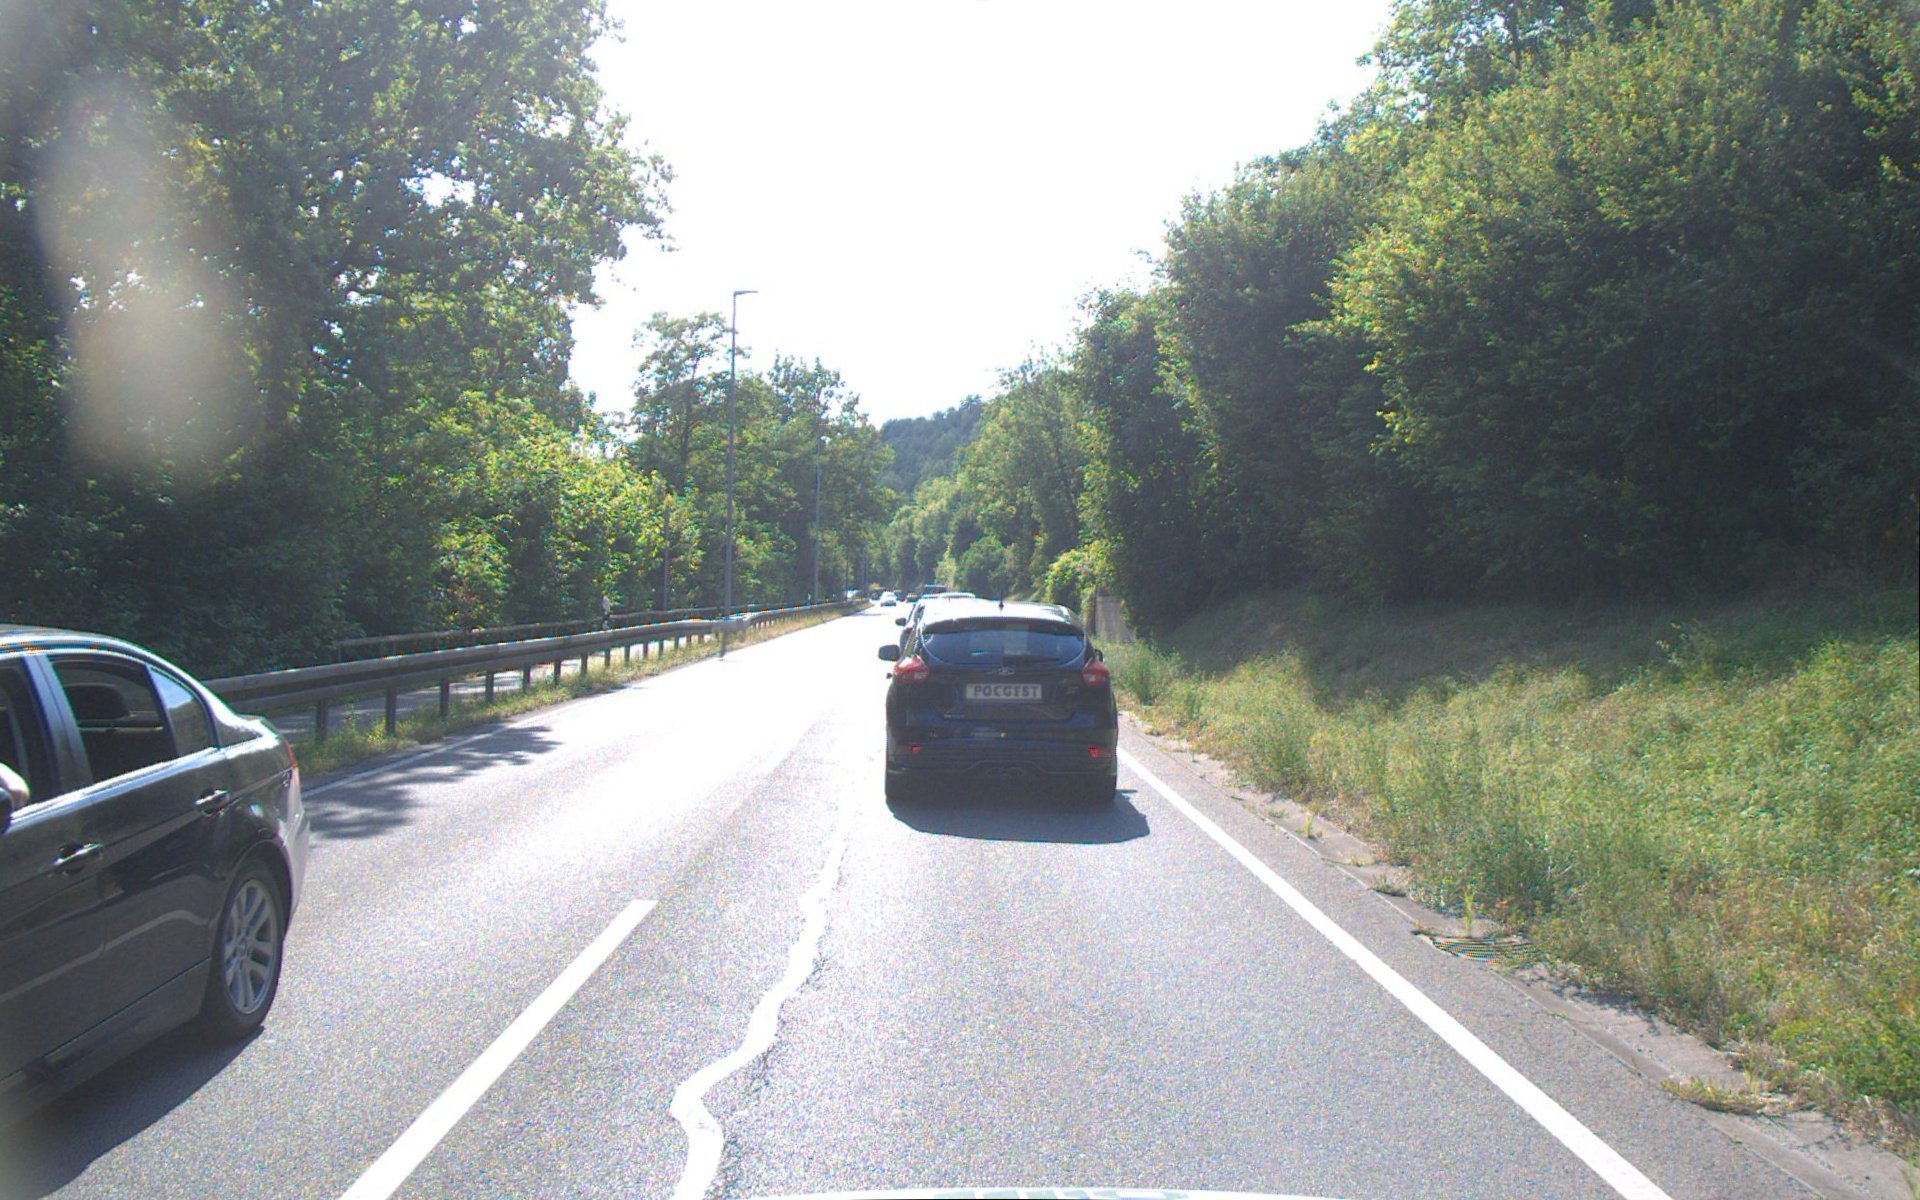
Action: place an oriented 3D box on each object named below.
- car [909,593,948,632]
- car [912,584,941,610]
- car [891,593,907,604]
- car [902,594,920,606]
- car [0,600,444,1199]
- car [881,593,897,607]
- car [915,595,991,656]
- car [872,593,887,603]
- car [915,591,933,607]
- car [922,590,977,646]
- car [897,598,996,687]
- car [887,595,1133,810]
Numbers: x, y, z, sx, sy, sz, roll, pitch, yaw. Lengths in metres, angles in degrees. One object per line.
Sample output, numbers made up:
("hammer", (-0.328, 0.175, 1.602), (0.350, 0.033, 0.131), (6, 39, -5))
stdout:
("car", (-1.323, 0.496, 70.407), (1.597, 1.624, 3.999), (0, 0, -1))
("car", (-2.454, -0.220, 121.230), (1.827, 1.812, 3.995), (0, 0, -6))
("car", (-8.871, -0.228, 239.257), (1.956, 1.545, 3.993), (0, 0, -8))
("car", (-6.472, -0.026, 218.840), (1.956, 1.545, 3.993), (0, 0, -8))
("car", (-3.153, 0.731, 5.509), (1.657, 1.445, 4.140), (0, 0, -1))
("car", (-7.155, -0.017, 166.801), (1.590, 1.401, 4.046), (-1, 0, -1))
("car", (-0.188, 0.591, 40.384), (1.768, 1.416, 3.999), (0, 0, -1))
("car", (-12.477, -0.368, 255.468), (1.956, 1.545, 3.993), (0, 0, -8))
("car", (-3.570, -0.085, 164.683), (1.782, 1.545, 3.999), (0, 0, -1))
("car", (-0.337, 0.514, 50.322), (1.597, 1.624, 3.999), (0, 0, -1))
("car", (-0.199, 0.696, 29.210), (1.627, 1.443, 4.000), (0, 0, 1))
("car", (0.325, 0.719, 13.557), (1.704, 1.482, 3.999), (1, 0, -1))
